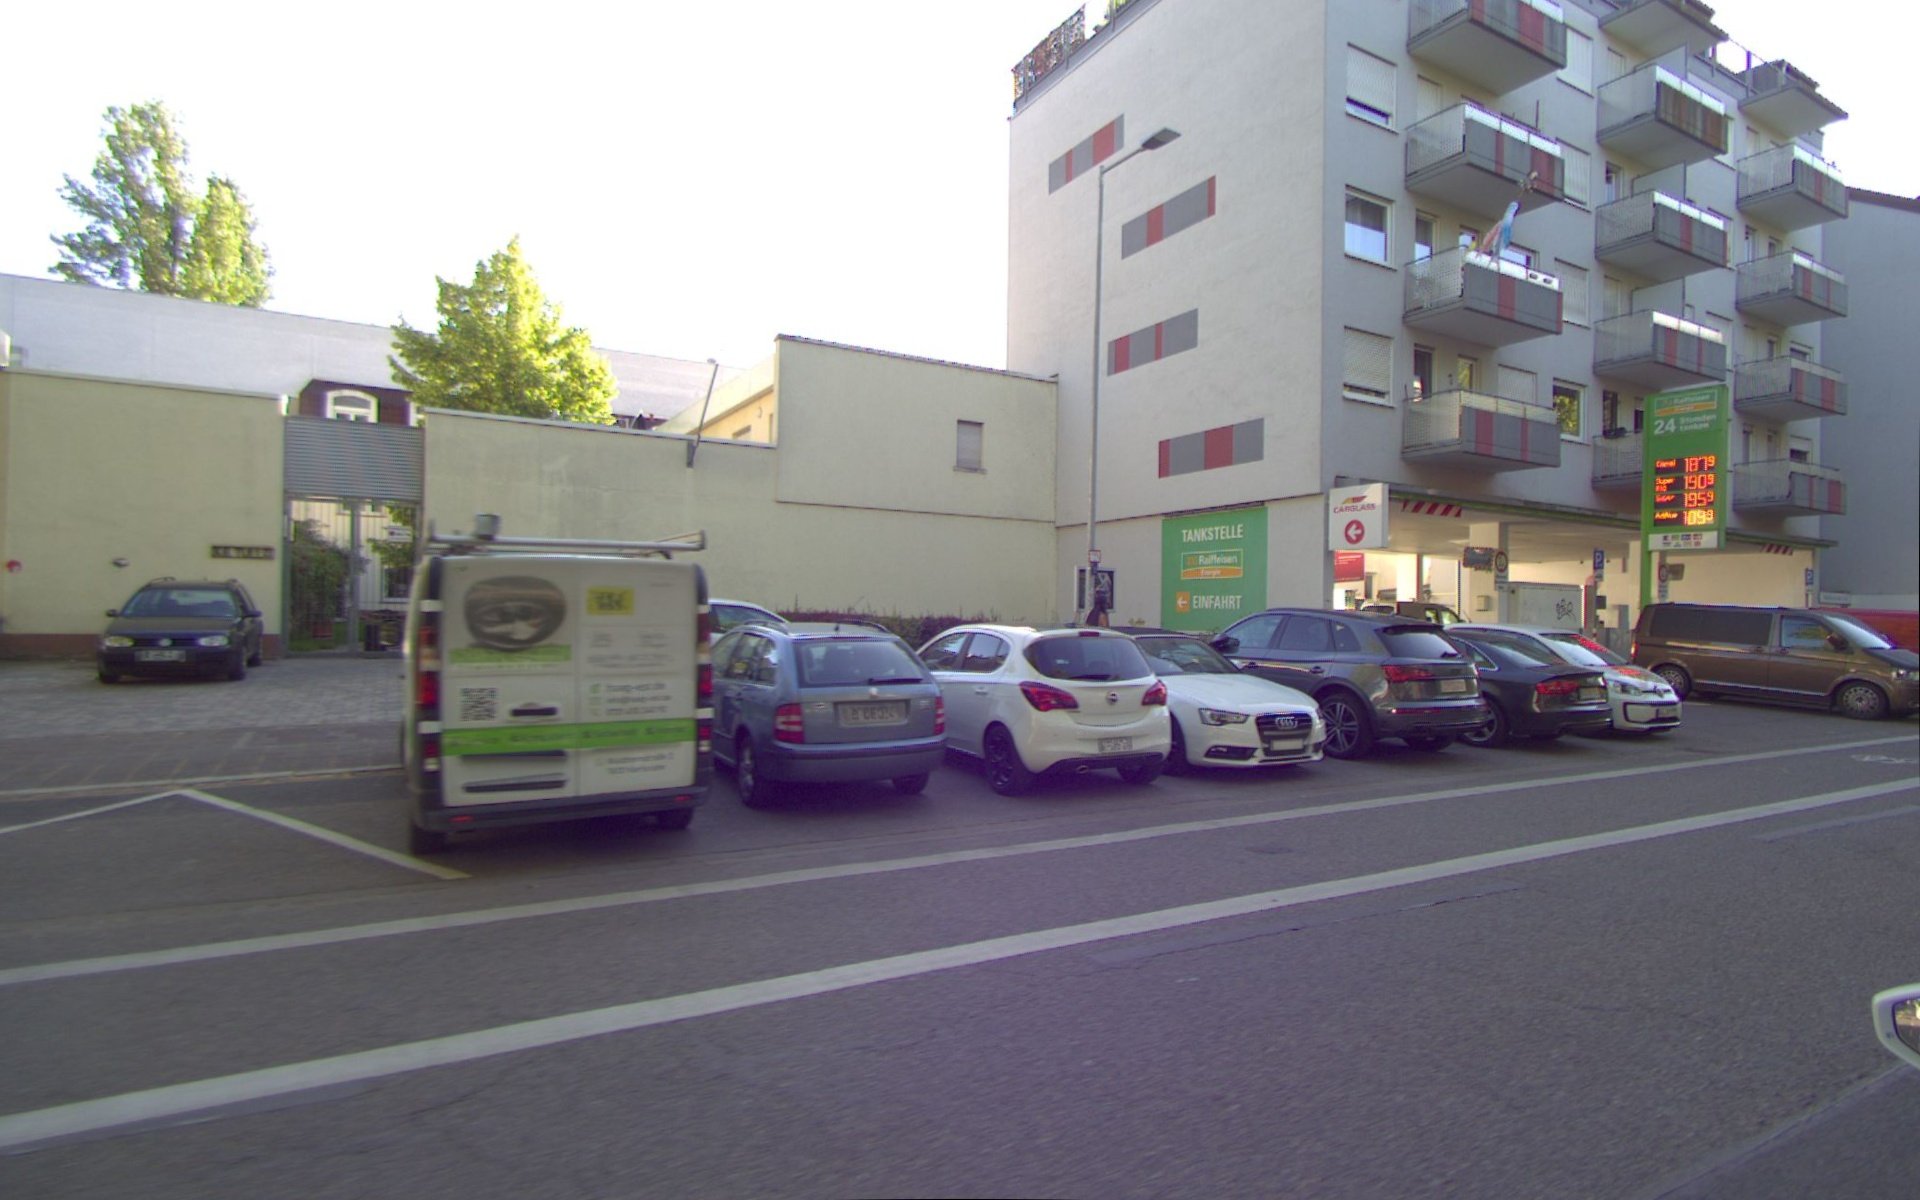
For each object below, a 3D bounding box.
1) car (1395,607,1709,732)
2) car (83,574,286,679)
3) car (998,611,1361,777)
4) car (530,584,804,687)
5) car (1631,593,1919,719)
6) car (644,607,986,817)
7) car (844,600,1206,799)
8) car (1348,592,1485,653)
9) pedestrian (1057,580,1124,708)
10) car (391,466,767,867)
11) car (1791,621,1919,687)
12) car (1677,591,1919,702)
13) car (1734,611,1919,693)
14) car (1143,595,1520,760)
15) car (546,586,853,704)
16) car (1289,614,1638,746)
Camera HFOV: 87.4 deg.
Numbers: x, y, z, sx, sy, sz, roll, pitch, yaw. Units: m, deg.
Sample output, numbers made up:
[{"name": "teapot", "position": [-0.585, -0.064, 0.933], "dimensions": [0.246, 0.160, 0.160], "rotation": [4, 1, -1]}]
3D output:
[{"name": "car", "position": [8.802, 0.952, 15.243], "dimensions": [1.809, 1.533, 3.668], "rotation": [2, 0, -30]}, {"name": "car", "position": [-12.063, 0.339, 15.898], "dimensions": [1.866, 1.436, 3.845], "rotation": [1, 1, -28]}, {"name": "car", "position": [2.265, 0.907, 11.401], "dimensions": [1.831, 1.452, 3.968], "rotation": [2, 0, -30]}, {"name": "car", "position": [-4.751, 0.562, 16.393], "dimensions": [3.954, 1.483, 1.781], "rotation": [2, 1, -31]}, {"name": "car", "position": [15.795, 0.952, 19.157], "dimensions": [2.032, 1.978, 4.501], "rotation": [2, 1, -29]}, {"name": "car", "position": [-1.573, 0.844, 9.424], "dimensions": [1.831, 1.452, 3.968], "rotation": [2, 0, -30]}, {"name": "car", "position": [0.446, 0.833, 10.351], "dimensions": [1.831, 1.580, 3.968], "rotation": [1, 0, -30]}, {"name": "car", "position": [14.693, 0.750, 32.259], "dimensions": [4.532, 1.770, 1.712], "rotation": [3, -2, -30]}, {"name": "pedestrian", "position": [1.906, 0.634, 14.672], "dimensions": [0.714, 1.813, 0.628], "rotation": [1, -1, -30]}, {"name": "car", "position": [-3.426, 0.365, 8.264], "dimensions": [2.115, 2.246, 4.821], "rotation": [2, 0, -30]}, {"name": "car", "position": [22.525, 1.302, 23.560], "dimensions": [2.022, 1.398, 4.209], "rotation": [3, 0, -29]}, {"name": "car", "position": [17.944, 0.890, 20.888], "dimensions": [2.120, 1.978, 4.400], "rotation": [2, 1, -29]}, {"name": "car", "position": [20.392, 1.158, 22.717], "dimensions": [1.864, 1.584, 4.153], "rotation": [2, 1, -29]}, {"name": "car", "position": [4.492, 0.831, 12.805], "dimensions": [2.004, 1.706, 4.174], "rotation": [2, 0, -30]}, {"name": "car", "position": [-3.735, 0.616, 14.526], "dimensions": [3.954, 1.483, 1.781], "rotation": [2, 1, -31]}, {"name": "car", "position": [6.798, 0.993, 13.997], "dimensions": [1.893, 1.475, 3.968], "rotation": [2, 0, -30]}]
